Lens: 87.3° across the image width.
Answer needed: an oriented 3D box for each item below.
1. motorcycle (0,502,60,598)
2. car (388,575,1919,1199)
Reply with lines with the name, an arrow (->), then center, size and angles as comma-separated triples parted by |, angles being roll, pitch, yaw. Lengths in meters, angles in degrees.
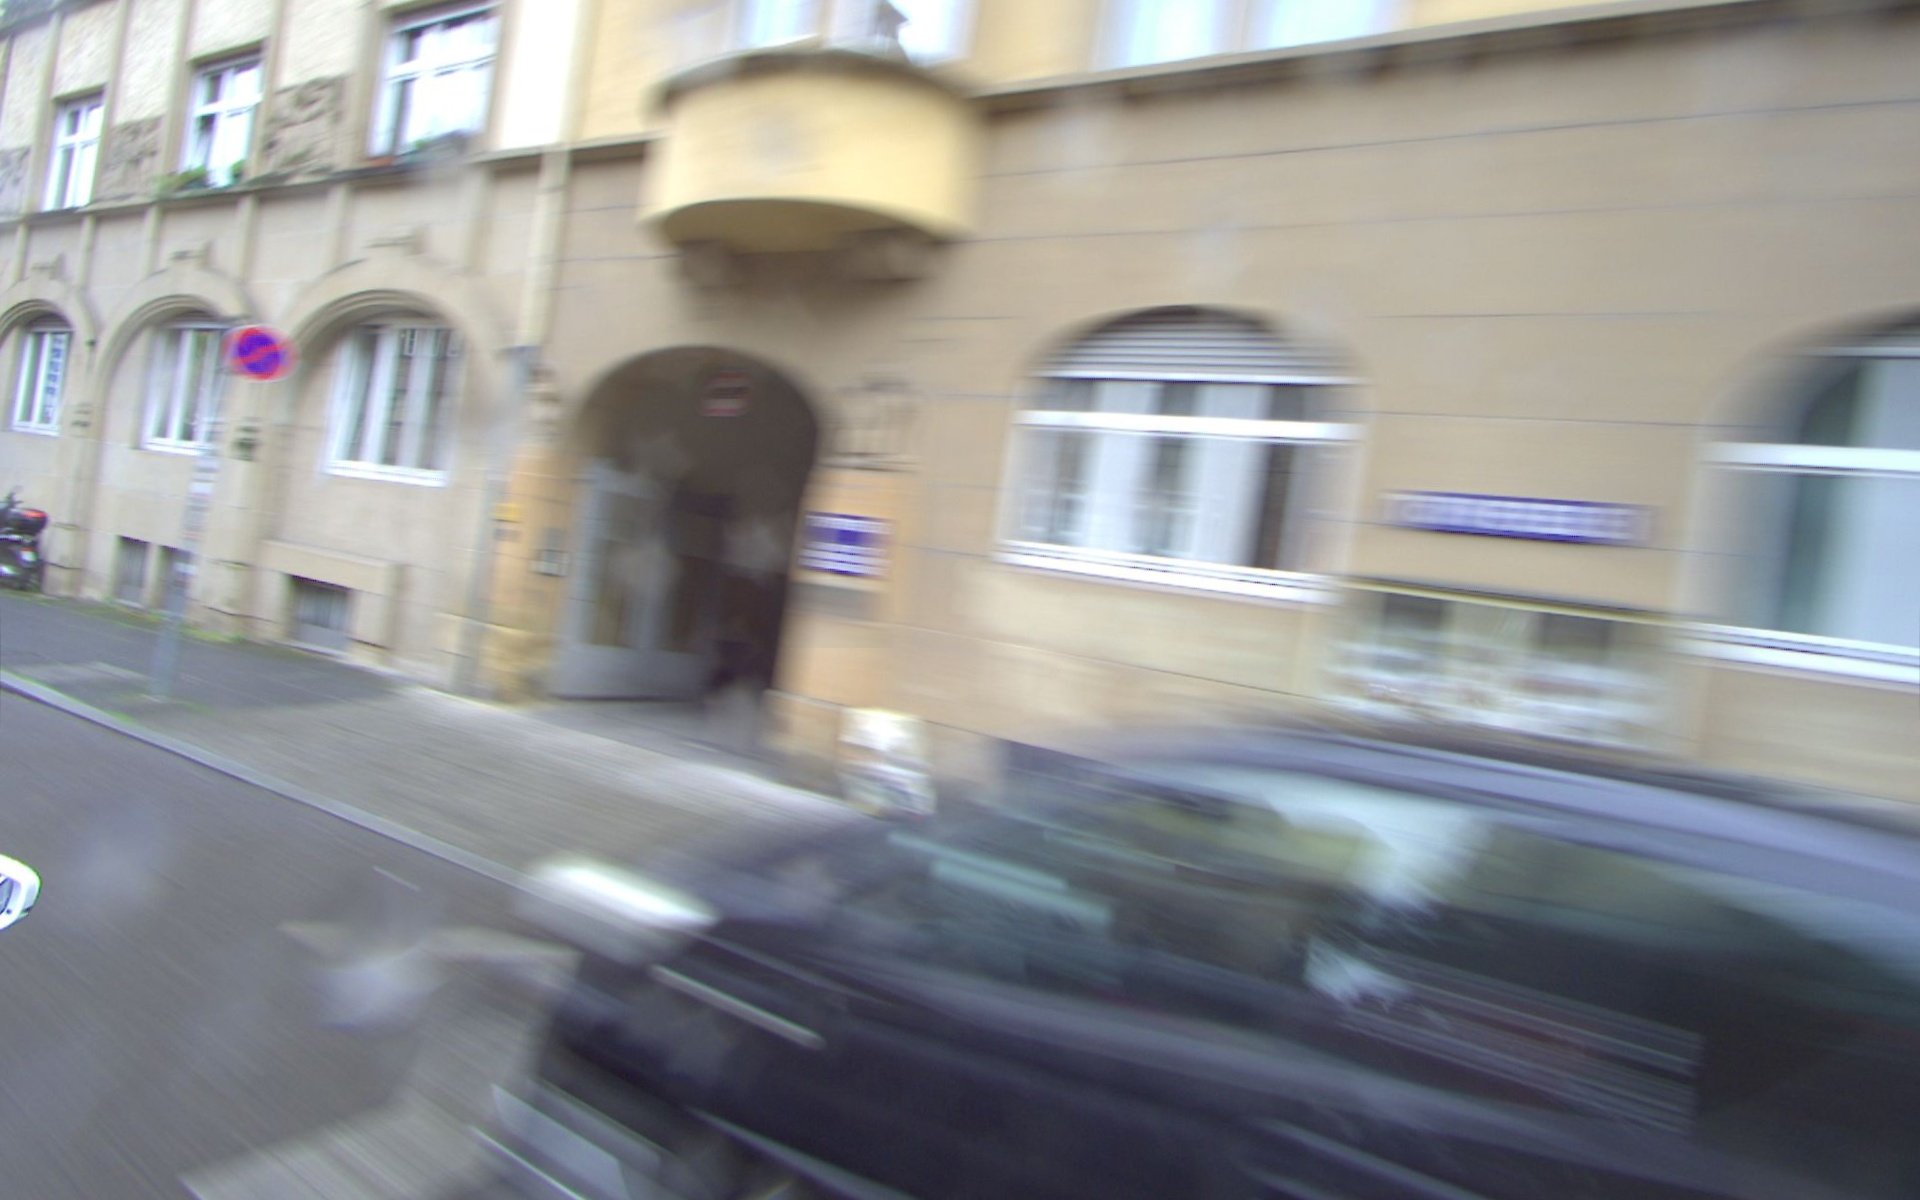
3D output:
motorcycle -> -13.227, -0.732, 13.894 | 2.231, 1.176, 0.556 | 7, 4, 32
car -> 0.630, 0.909, 2.137 | 3.252, 1.456, 1.596 | 6, -3, 28
